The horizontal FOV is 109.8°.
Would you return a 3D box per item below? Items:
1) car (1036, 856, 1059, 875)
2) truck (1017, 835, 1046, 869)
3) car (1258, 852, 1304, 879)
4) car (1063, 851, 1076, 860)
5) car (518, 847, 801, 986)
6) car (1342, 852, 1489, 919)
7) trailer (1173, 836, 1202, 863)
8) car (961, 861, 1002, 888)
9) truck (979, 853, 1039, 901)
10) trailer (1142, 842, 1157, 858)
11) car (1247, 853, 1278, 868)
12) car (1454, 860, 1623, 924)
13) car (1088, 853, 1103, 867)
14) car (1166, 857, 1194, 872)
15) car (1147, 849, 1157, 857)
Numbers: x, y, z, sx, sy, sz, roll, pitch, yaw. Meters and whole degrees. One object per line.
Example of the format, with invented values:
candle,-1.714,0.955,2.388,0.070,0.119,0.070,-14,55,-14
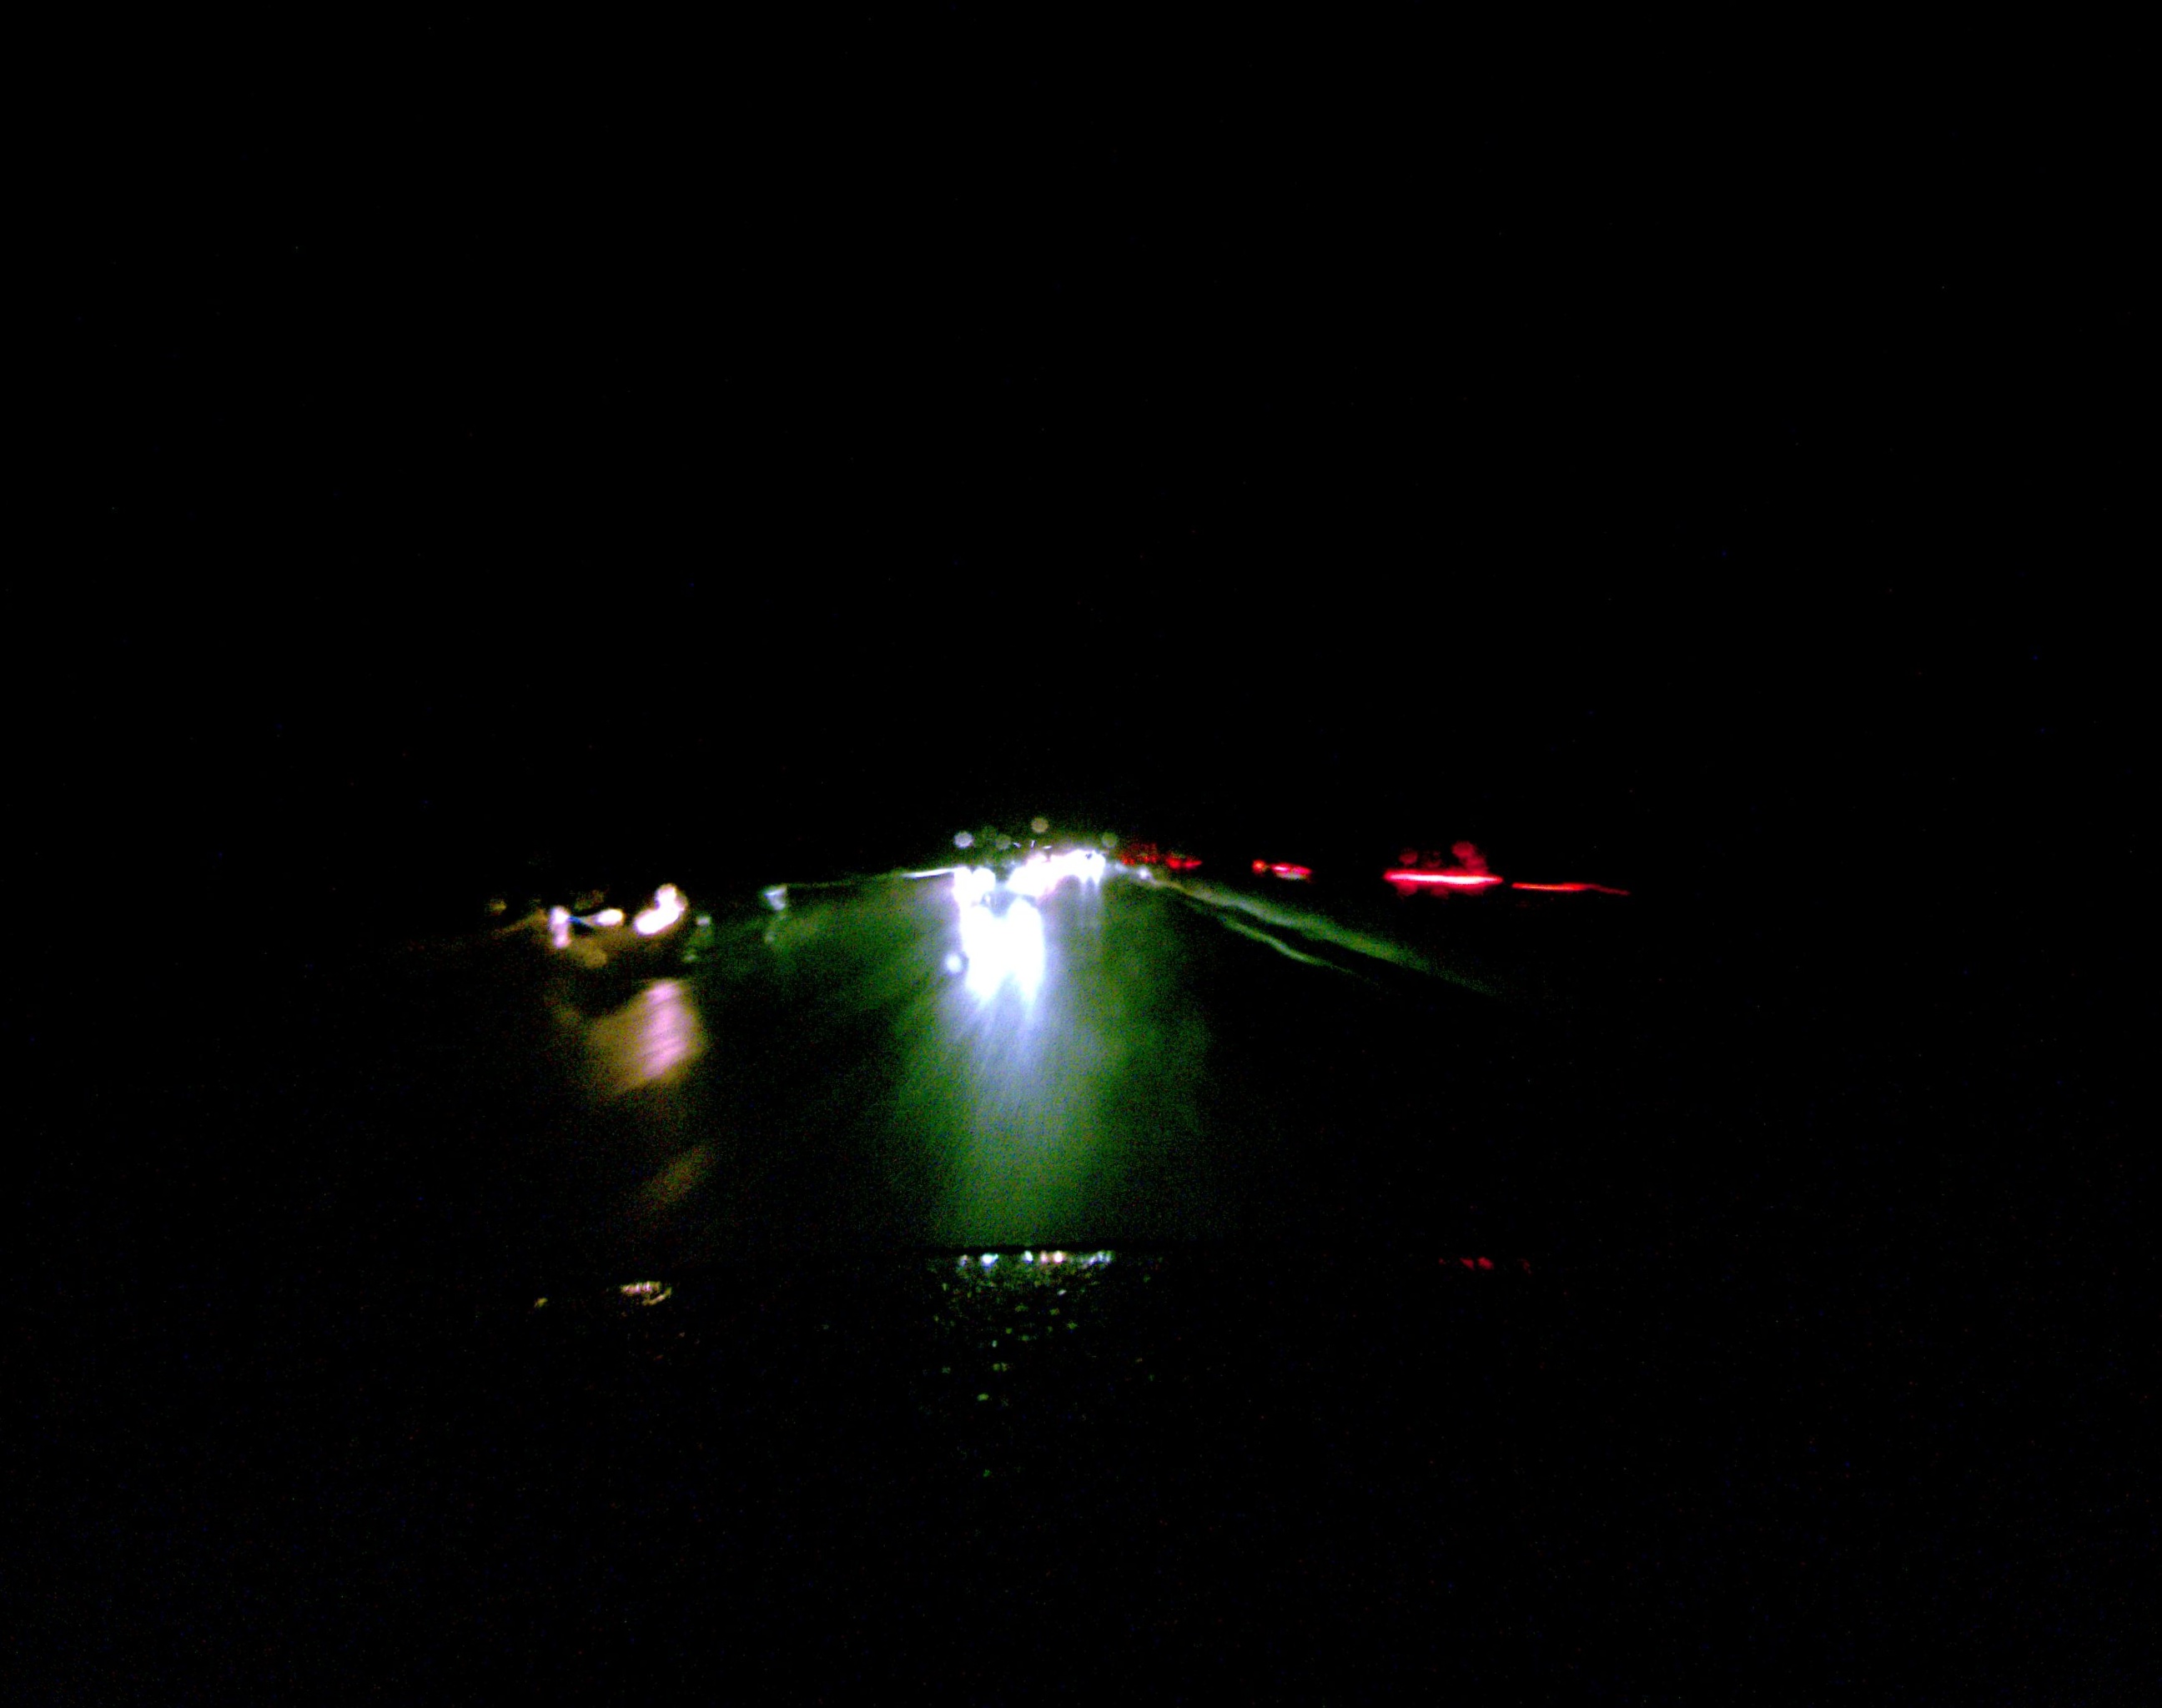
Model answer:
car,-2.907,0.944,66.693,1.619,1.494,3.767,-2,1,2
truck,-6.244,-0.267,97.315,2.866,4.079,7.014,-3,1,2
car,12.869,0.718,49.153,1.654,1.572,5.128,-2,0,1
car,-1.927,0.269,130.318,1.944,1.521,4.000,-2,1,2
car,-7.204,0.924,13.902,2.051,1.962,5.407,-2,0,1
car,8.842,0.770,20.585,1.999,1.607,4.417,0,0,0
trailer,18.157,-0.680,130.614,2.894,4.278,15.719,-2,-1,1
car,-6.107,1.224,47.304,1.747,1.470,5.366,-3,0,1
truck,-2.824,0.862,30.953,1.848,1.686,4.854,-2,1,1
trailer,18.983,-1.094,211.637,3.056,4.268,14.408,1,0,0
car,17.452,0.597,73.307,1.967,1.337,4.288,-2,0,0
car,12.960,1.003,21.958,1.999,1.607,4.745,0,0,0
car,1.728,0.646,88.697,1.619,1.452,3.767,-2,1,2
car,9.428,0.958,72.645,1.967,1.337,4.288,-2,0,0
car,14.446,-0.126,155.076,1.682,1.588,4.348,0,0,-1
